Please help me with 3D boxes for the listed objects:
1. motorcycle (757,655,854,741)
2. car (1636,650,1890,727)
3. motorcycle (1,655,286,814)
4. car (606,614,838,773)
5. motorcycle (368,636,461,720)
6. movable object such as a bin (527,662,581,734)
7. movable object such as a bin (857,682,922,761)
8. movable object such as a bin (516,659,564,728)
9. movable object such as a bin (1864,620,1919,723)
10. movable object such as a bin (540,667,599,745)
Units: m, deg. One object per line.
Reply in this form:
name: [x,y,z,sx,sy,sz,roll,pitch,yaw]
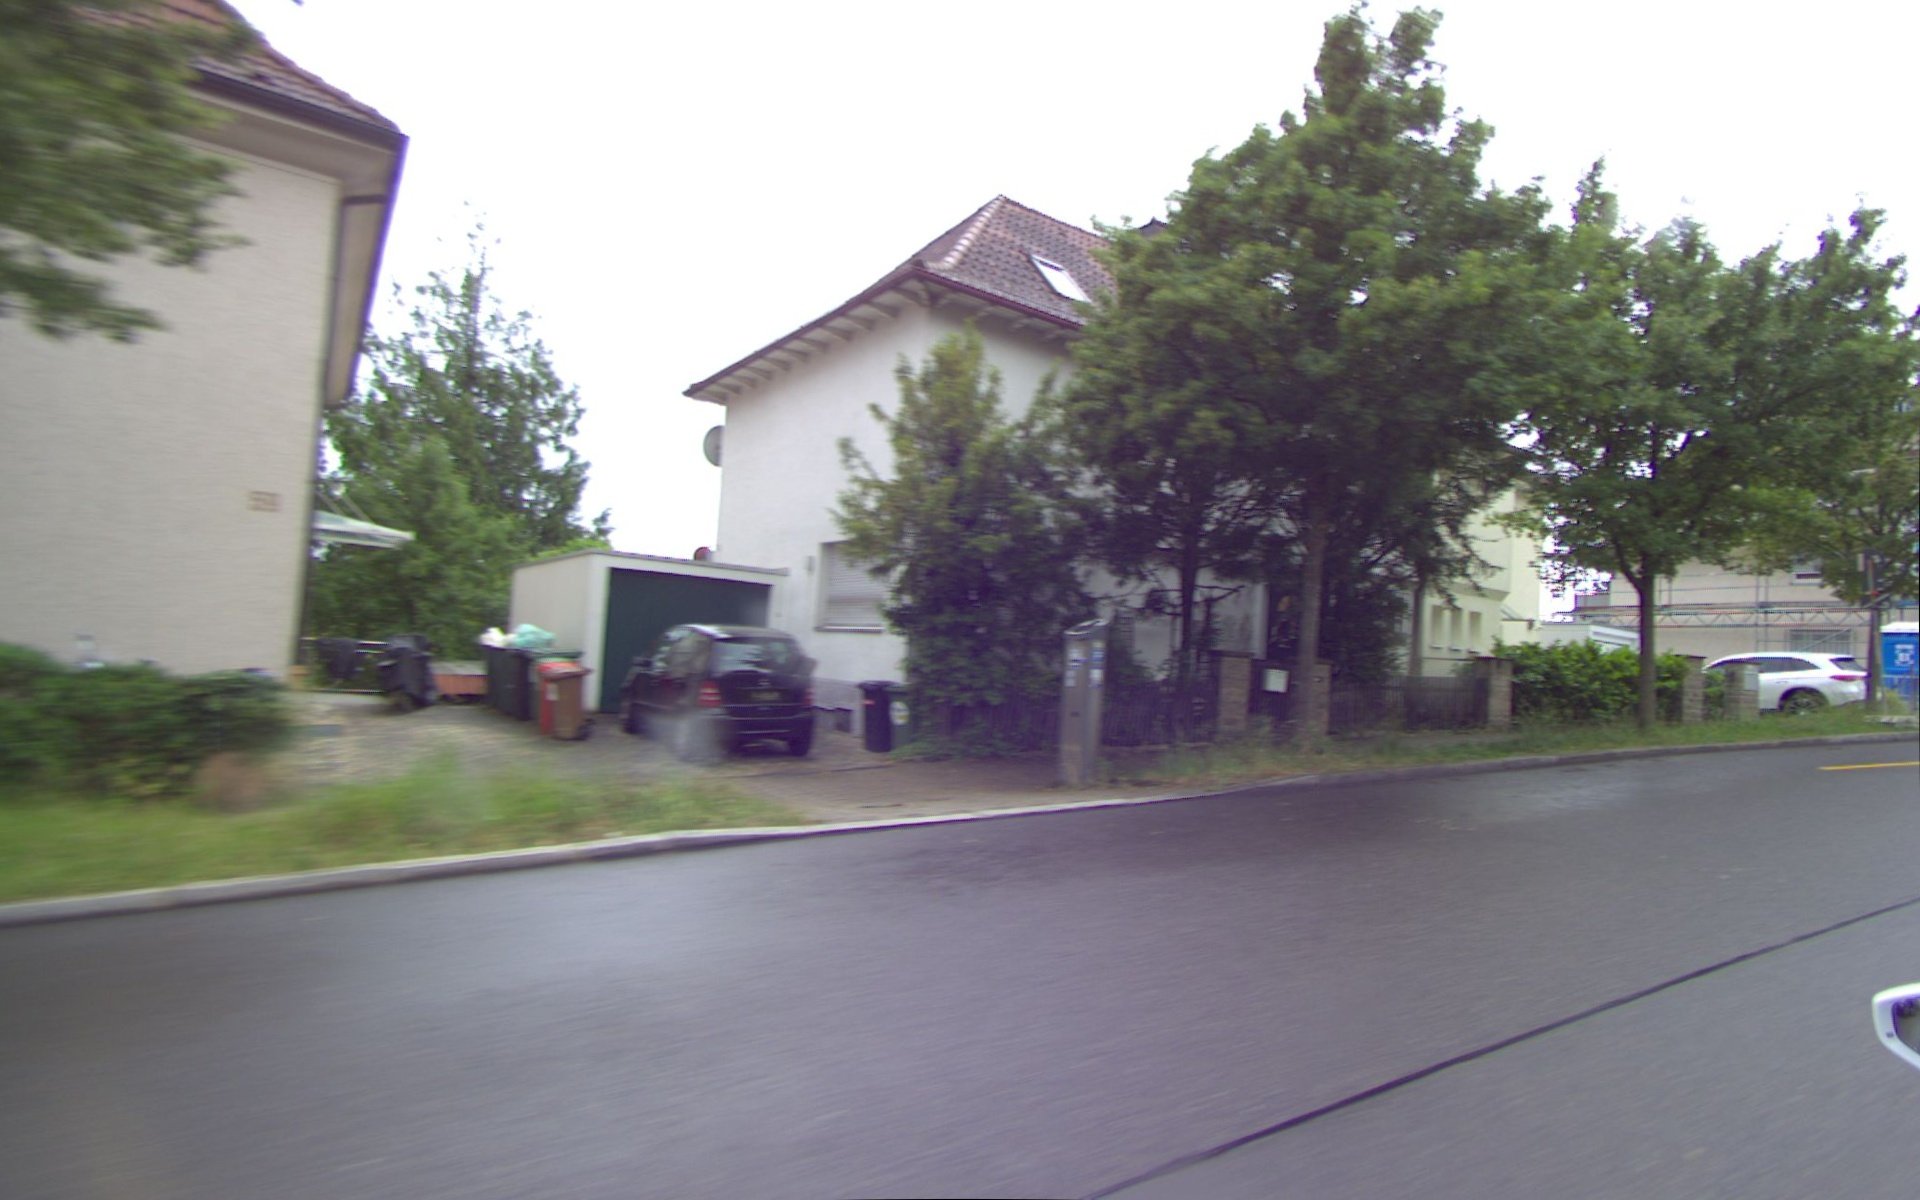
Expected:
motorcycle: [-2.369,1.451,15.207,0.754,1.117,1.694,4,-1,-34]
car: [18.587,2.073,23.466,1.928,1.624,4.178,3,-6,-30]
motorcycle: [-7.399,1.165,9.234,1.951,1.265,0.726,2,0,-37]
car: [-3.319,1.106,13.433,1.843,1.563,3.918,2,1,-32]
motorcycle: [-8.218,1.145,15.211,0.633,1.104,1.931,3,-1,-11]
movable object such as a bin: [-5.607,1.337,13.869,0.585,0.933,0.610,2,0,-32]
movable object such as a bin: [-0.923,1.567,13.138,0.585,0.933,0.665,2,0,-32]
movable object such as a bin: [-6.036,1.326,14.436,0.549,0.933,0.506,2,0,-32]
movable object such as a bin: [24.010,1.786,25.415,1.369,2.538,1.307,2,-2,-29]
movable object such as a bin: [-5.111,1.366,13.120,0.585,0.933,0.682,2,0,-32]
